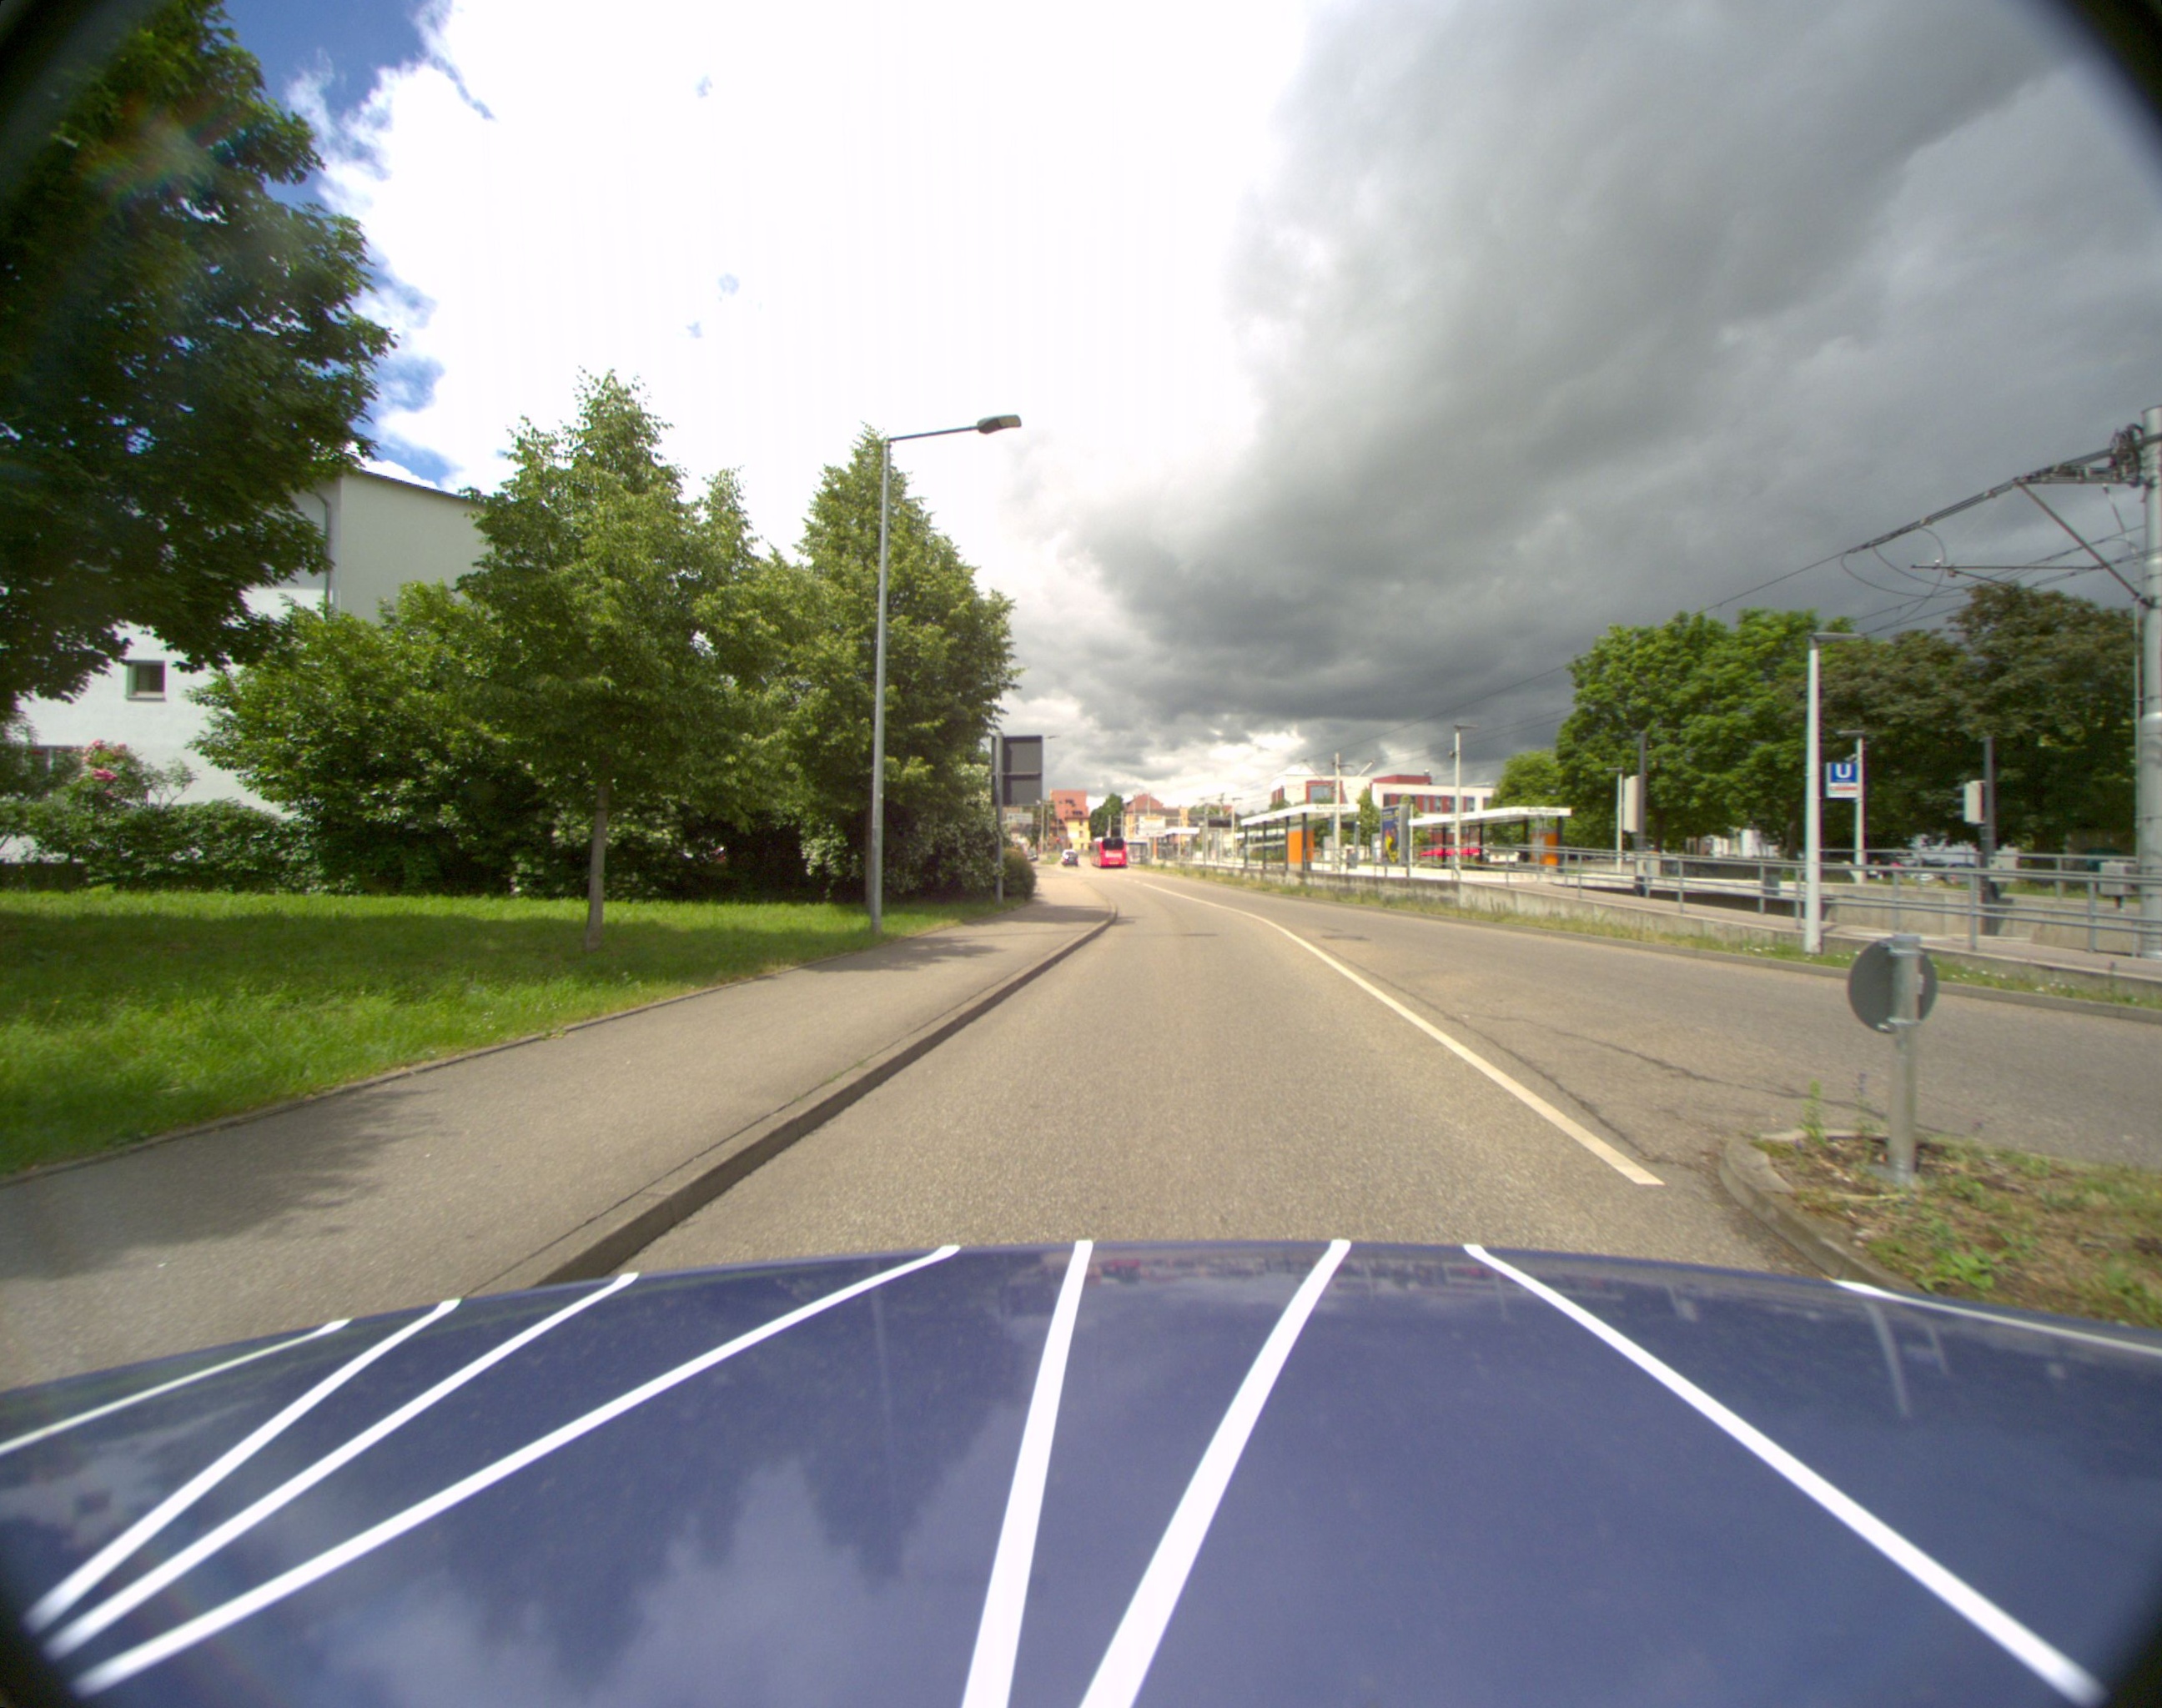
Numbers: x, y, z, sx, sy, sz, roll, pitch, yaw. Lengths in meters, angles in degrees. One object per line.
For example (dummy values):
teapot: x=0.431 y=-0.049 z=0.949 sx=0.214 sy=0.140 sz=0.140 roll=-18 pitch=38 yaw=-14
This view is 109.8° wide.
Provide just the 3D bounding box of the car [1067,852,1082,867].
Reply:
car: x=-0.725 y=0.588 z=84.585 sx=1.534 sy=1.542 sz=3.731 roll=-1 pitch=1 yaw=-2

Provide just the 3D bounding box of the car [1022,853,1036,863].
car: x=-7.818 y=0.662 z=113.878 sx=1.883 sy=1.420 sz=3.998 roll=0 pitch=-1 yaw=-6

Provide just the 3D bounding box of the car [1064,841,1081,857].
car: x=-1.036 y=-0.582 z=91.605 sx=1.767 sy=1.652 sz=4.506 roll=1 pitch=-3 yaw=-5

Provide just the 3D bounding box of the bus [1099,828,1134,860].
bus: x=3.482 y=-0.917 z=77.190 sx=2.733 sy=3.051 sz=8.962 roll=0 pitch=-1 yaw=-2

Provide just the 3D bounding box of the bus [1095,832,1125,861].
bus: x=3.184 y=-0.764 z=86.526 sx=2.733 sy=3.090 sz=9.703 roll=0 pitch=-1 yaw=-2

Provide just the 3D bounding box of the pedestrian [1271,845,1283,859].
pedestrian: x=18.329 y=-0.213 z=71.045 sx=0.759 sy=1.284 sz=1.112 roll=1 pitch=1 yaw=-1
